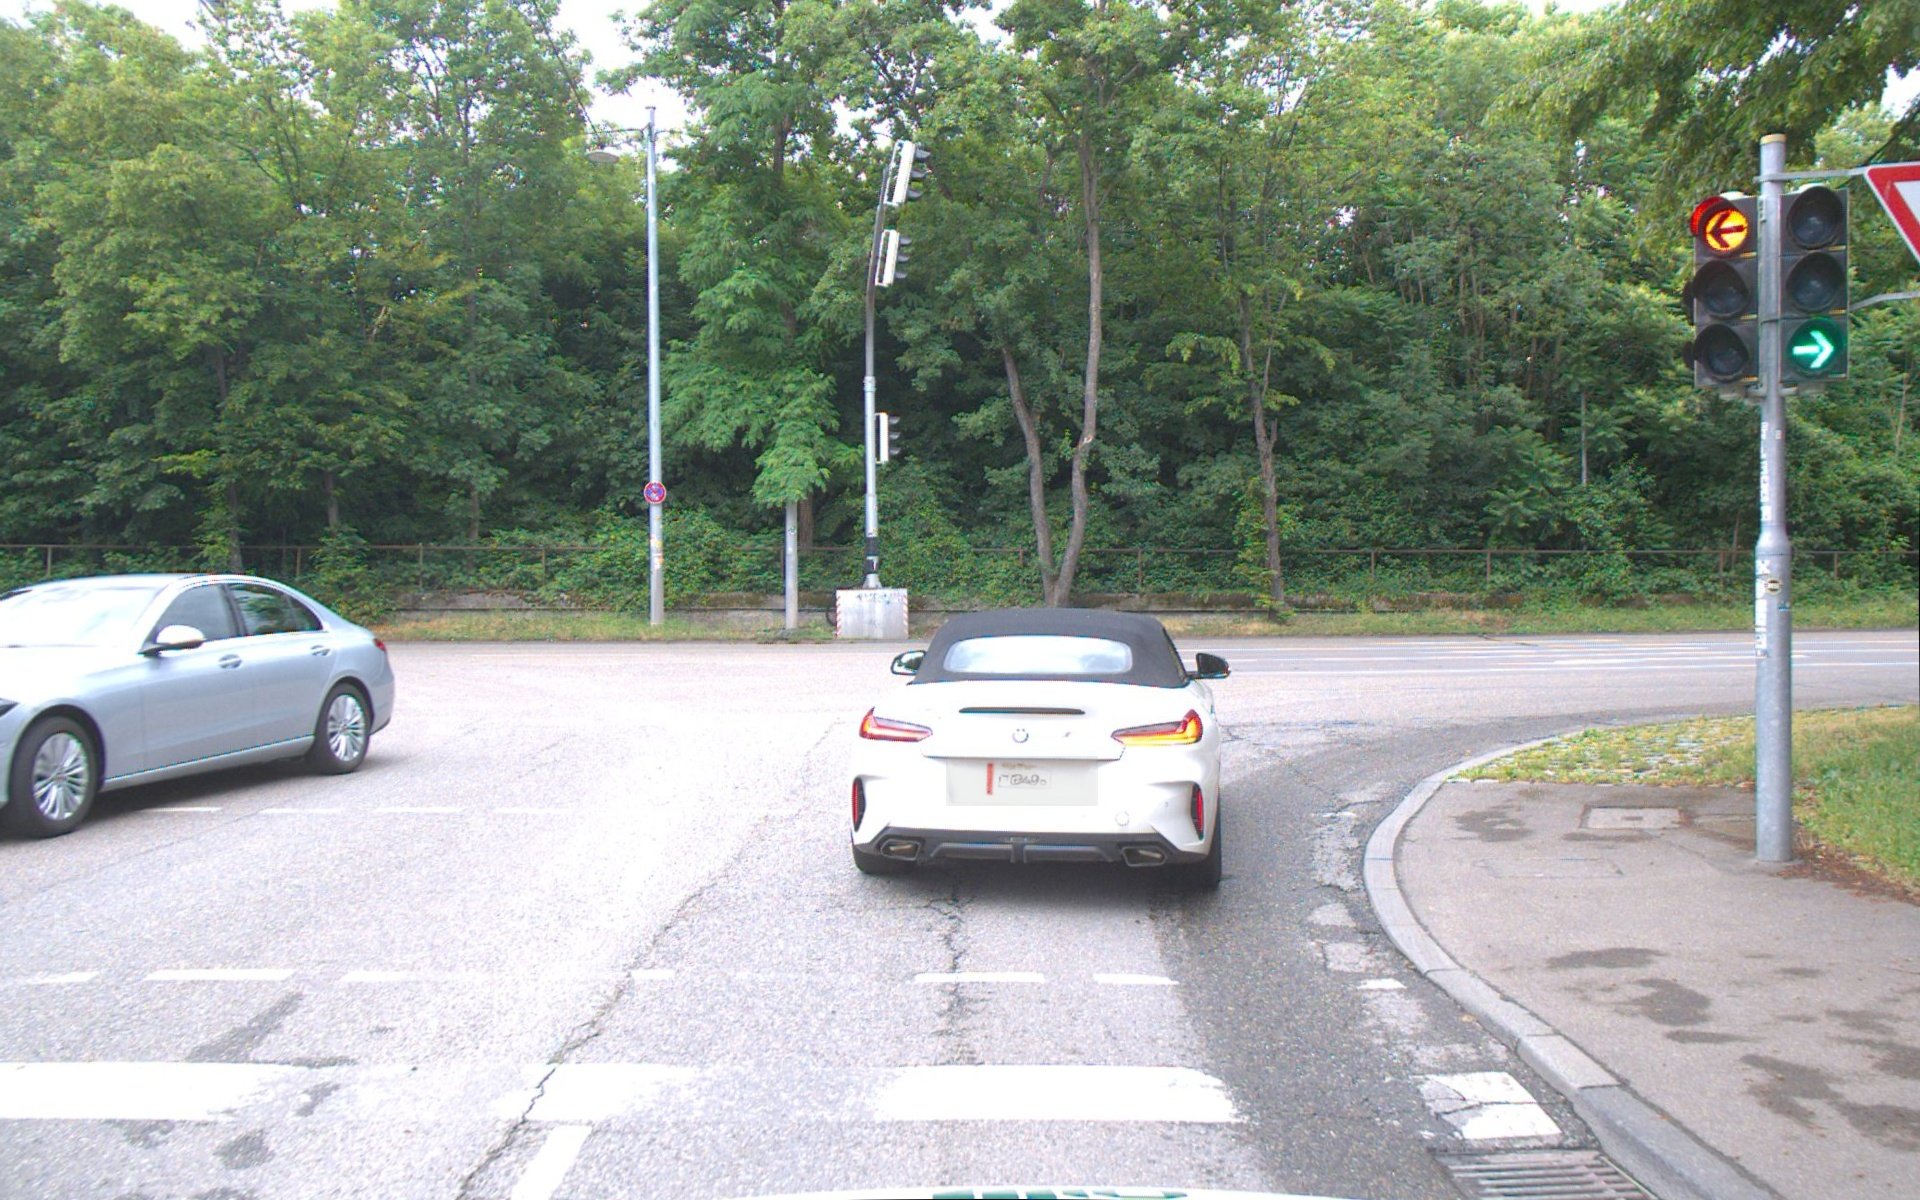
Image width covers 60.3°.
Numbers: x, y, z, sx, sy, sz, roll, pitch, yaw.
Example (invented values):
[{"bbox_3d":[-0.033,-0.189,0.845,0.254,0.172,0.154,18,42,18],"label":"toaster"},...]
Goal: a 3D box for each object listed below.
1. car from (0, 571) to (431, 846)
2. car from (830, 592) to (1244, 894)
[{"bbox_3d":[-5.520,0.542,10.781,1.788,1.357,4.772,0,2,12],"label":"car"},{"bbox_3d":[0.488,0.681,9.213,1.789,1.279,4.002,1,-2,5],"label":"car"}]
